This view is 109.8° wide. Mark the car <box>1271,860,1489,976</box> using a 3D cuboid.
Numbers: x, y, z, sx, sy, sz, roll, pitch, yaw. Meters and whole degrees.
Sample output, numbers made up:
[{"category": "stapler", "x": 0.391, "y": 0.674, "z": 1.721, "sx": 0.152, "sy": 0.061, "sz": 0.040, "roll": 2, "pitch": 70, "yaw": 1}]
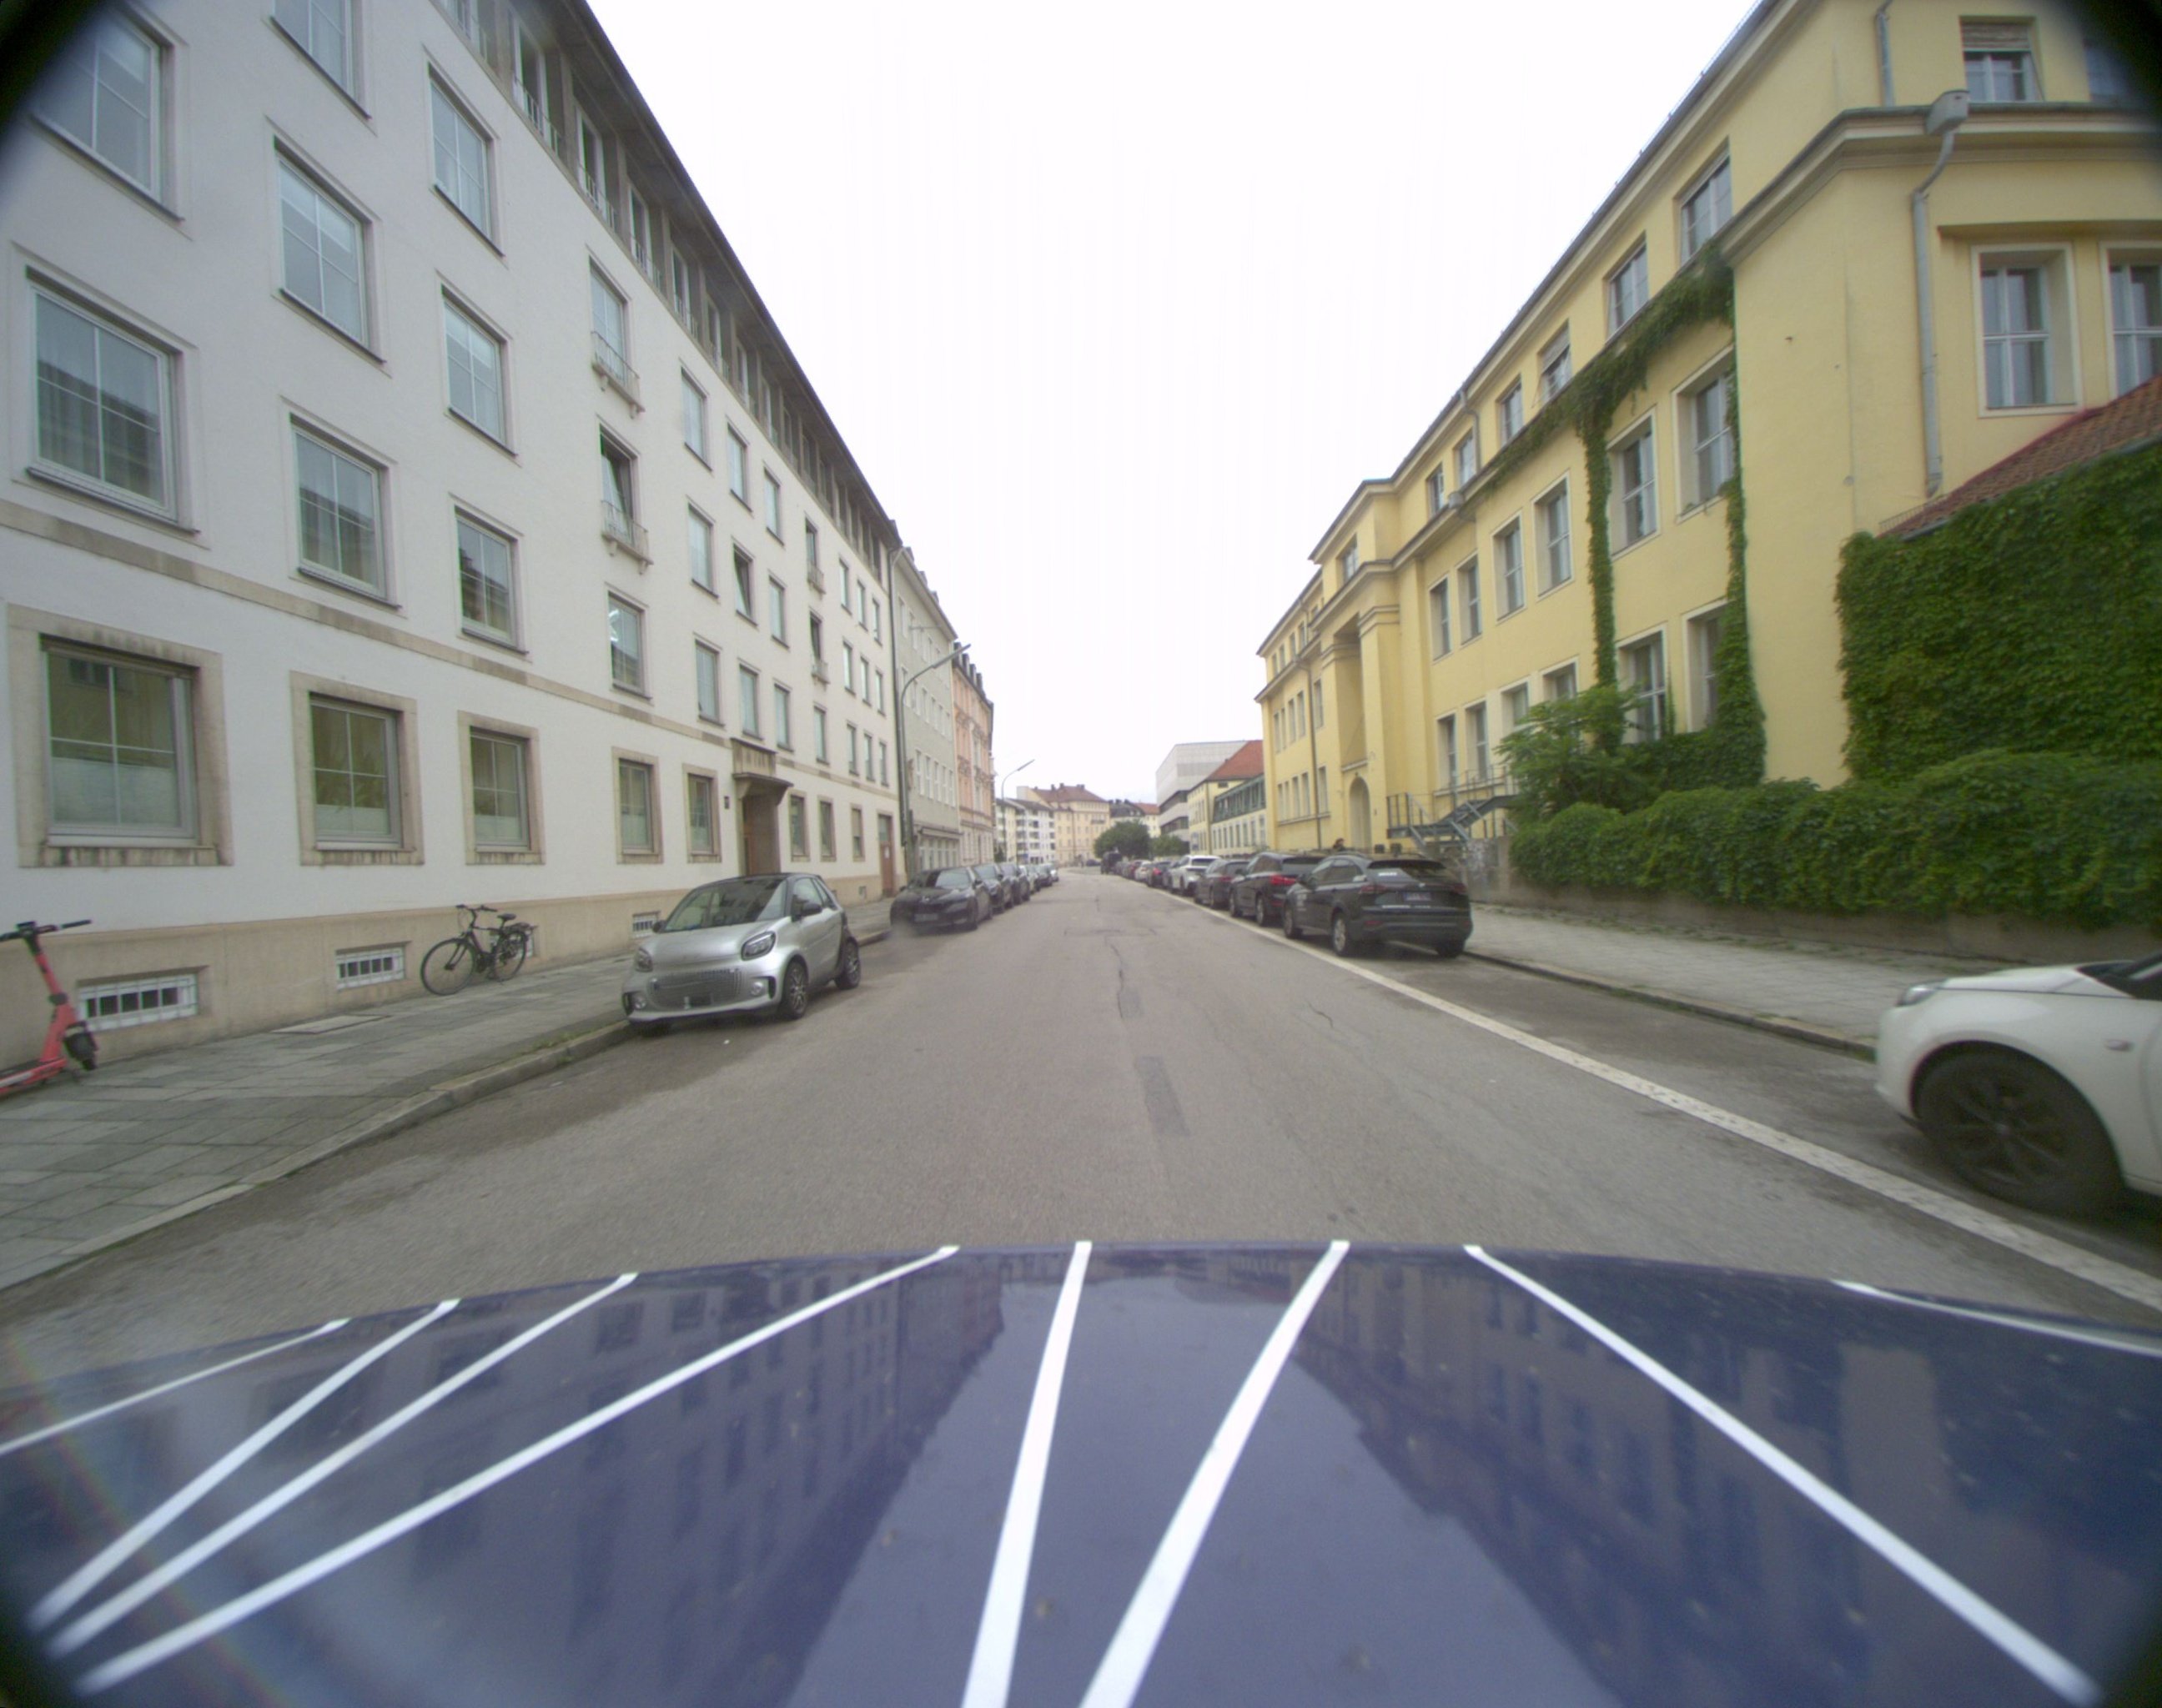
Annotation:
[{"category": "car", "x": 4.450, "y": 0.864, "z": 12.079, "sx": 1.721, "sy": 1.472, "sz": 4.220, "roll": 1, "pitch": 0, "yaw": -1}]

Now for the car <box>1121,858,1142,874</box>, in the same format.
[{"category": "car", "x": 5.268, "y": 1.232, "z": 79.767, "sx": 1.998, "sy": 1.631, "sz": 4.210, "roll": -2, "pitch": 0, "yaw": 1}]

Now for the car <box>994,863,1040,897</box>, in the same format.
[{"category": "car", "x": -3.021, "y": 1.216, "z": 36.743, "sx": 1.745, "sy": 1.421, "sz": 4.181, "roll": -4, "pitch": 0, "yaw": 1}]

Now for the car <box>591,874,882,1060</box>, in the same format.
[{"category": "car", "x": -3.696, "y": 1.109, "z": 8.851, "sx": 1.618, "sy": 1.507, "sz": 3.380, "roll": -7, "pitch": 0, "yaw": 1}]

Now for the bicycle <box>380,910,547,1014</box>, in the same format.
[{"category": "bicycle", "x": -7.796, "y": 1.318, "z": 9.717, "sx": 0.631, "sy": 1.085, "sz": 1.837, "roll": 0, "pitch": 0, "yaw": 0}]

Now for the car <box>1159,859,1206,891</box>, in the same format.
[{"category": "car", "x": 4.778, "y": 0.949, "z": 36.210, "sx": 1.611, "sy": 1.438, "sz": 3.917, "roll": 1, "pitch": 0, "yaw": -2}]

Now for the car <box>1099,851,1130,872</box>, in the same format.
[{"category": "car", "x": 4.203, "y": 0.968, "z": 96.152, "sx": 2.848, "sy": 2.536, "sz": 6.890, "roll": -2, "pitch": 0, "yaw": -6}]

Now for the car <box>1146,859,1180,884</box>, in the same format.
[{"category": "car", "x": 4.927, "y": 1.007, "z": 46.236, "sx": 1.690, "sy": 1.438, "sz": 4.113, "roll": 0, "pitch": 0, "yaw": 1}]

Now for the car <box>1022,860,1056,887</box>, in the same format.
[{"category": "car", "x": -2.665, "y": 1.224, "z": 49.234, "sx": 1.725, "sy": 1.457, "sz": 4.193, "roll": -5, "pitch": 0, "yaw": 2}]

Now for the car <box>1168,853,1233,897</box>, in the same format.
[{"category": "car", "x": 4.765, "y": 0.814, "z": 30.757, "sx": 1.786, "sy": 1.631, "sz": 4.299, "roll": 1, "pitch": 0, "yaw": -2}]

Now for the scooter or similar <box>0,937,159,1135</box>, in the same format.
[{"category": "scooter or similar", "x": -7.810, "y": 1.312, "z": 5.556, "sx": 0.731, "sy": 1.267, "sz": 1.095, "roll": -3, "pitch": 0, "yaw": 0}]

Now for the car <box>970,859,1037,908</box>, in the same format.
[{"category": "car", "x": -2.879, "y": 1.058, "z": 29.023, "sx": 1.831, "sy": 1.572, "sz": 4.492, "roll": -4, "pitch": 0, "yaw": 2}]

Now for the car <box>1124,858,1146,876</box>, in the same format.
[{"category": "car", "x": 4.769, "y": 1.133, "z": 67.453, "sx": 1.673, "sy": 1.509, "sz": 3.947, "roll": -2, "pitch": 0, "yaw": 1}]

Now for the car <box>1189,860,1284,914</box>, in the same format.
[{"category": "car", "x": 4.507, "y": 0.913, "z": 22.771, "sx": 1.778, "sy": 1.400, "sz": 4.601, "roll": 1, "pitch": 0, "yaw": -1}]

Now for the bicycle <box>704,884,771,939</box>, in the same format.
[{"category": "bicycle", "x": -7.564, "y": 1.247, "z": 16.835, "sx": 0.599, "sy": 1.073, "sz": 2.040, "roll": 0, "pitch": 0, "yaw": -1}]

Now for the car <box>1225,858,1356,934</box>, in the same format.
[{"category": "car", "x": 4.549, "y": 0.840, "z": 17.173, "sx": 1.774, "sy": 1.494, "sz": 4.273, "roll": 0, "pitch": 0, "yaw": 0}]

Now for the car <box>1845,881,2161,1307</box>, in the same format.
[{"category": "car", "x": 4.475, "y": 0.818, "z": 1.827, "sx": 1.671, "sy": 1.401, "sz": 3.559, "roll": 0, "pitch": 0, "yaw": -1}]

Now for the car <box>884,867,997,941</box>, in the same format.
[{"category": "car", "x": -3.297, "y": 1.119, "z": 18.805, "sx": 1.878, "sy": 1.439, "sz": 4.700, "roll": -4, "pitch": 0, "yaw": -1}]

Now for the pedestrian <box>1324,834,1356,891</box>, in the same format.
[{"category": "pedestrian", "x": 8.576, "y": 0.275, "z": 25.177, "sx": 0.776, "sy": 1.813, "sz": 0.782, "roll": -2, "pitch": 0, "yaw": 4}]

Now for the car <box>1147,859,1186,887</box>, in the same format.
[{"category": "car", "x": 4.553, "y": 0.974, "z": 40.955, "sx": 1.738, "sy": 1.431, "sz": 3.779, "roll": 0, "pitch": 0, "yaw": 1}]

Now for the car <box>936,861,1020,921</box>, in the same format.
[{"category": "car", "x": -3.142, "y": 1.073, "z": 24.072, "sx": 1.831, "sy": 1.572, "sz": 4.491, "roll": -4, "pitch": 0, "yaw": 1}]

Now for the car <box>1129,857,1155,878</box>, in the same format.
[{"category": "car", "x": 4.724, "y": 1.020, "z": 59.435, "sx": 1.774, "sy": 1.545, "sz": 4.210, "roll": 0, "pitch": 0, "yaw": 1}]

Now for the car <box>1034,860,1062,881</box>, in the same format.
[{"category": "car", "x": -2.794, "y": 1.394, "z": 65.519, "sx": 2.001, "sy": 1.563, "sz": 4.491, "roll": -5, "pitch": 0, "yaw": 1}]

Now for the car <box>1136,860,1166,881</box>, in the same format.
[{"category": "car", "x": 4.921, "y": 1.117, "z": 53.779, "sx": 1.816, "sy": 1.389, "sz": 4.020, "roll": 0, "pitch": 0, "yaw": 1}]

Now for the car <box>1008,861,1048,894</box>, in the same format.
[{"category": "car", "x": -2.935, "y": 1.276, "z": 42.566, "sx": 1.768, "sy": 1.531, "sz": 4.000, "roll": -6, "pitch": 0, "yaw": 1}]

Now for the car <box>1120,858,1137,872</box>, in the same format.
[{"category": "car", "x": 5.282, "y": 1.190, "z": 84.476, "sx": 1.673, "sy": 1.509, "sz": 3.947, "roll": -2, "pitch": 0, "yaw": 1}]
